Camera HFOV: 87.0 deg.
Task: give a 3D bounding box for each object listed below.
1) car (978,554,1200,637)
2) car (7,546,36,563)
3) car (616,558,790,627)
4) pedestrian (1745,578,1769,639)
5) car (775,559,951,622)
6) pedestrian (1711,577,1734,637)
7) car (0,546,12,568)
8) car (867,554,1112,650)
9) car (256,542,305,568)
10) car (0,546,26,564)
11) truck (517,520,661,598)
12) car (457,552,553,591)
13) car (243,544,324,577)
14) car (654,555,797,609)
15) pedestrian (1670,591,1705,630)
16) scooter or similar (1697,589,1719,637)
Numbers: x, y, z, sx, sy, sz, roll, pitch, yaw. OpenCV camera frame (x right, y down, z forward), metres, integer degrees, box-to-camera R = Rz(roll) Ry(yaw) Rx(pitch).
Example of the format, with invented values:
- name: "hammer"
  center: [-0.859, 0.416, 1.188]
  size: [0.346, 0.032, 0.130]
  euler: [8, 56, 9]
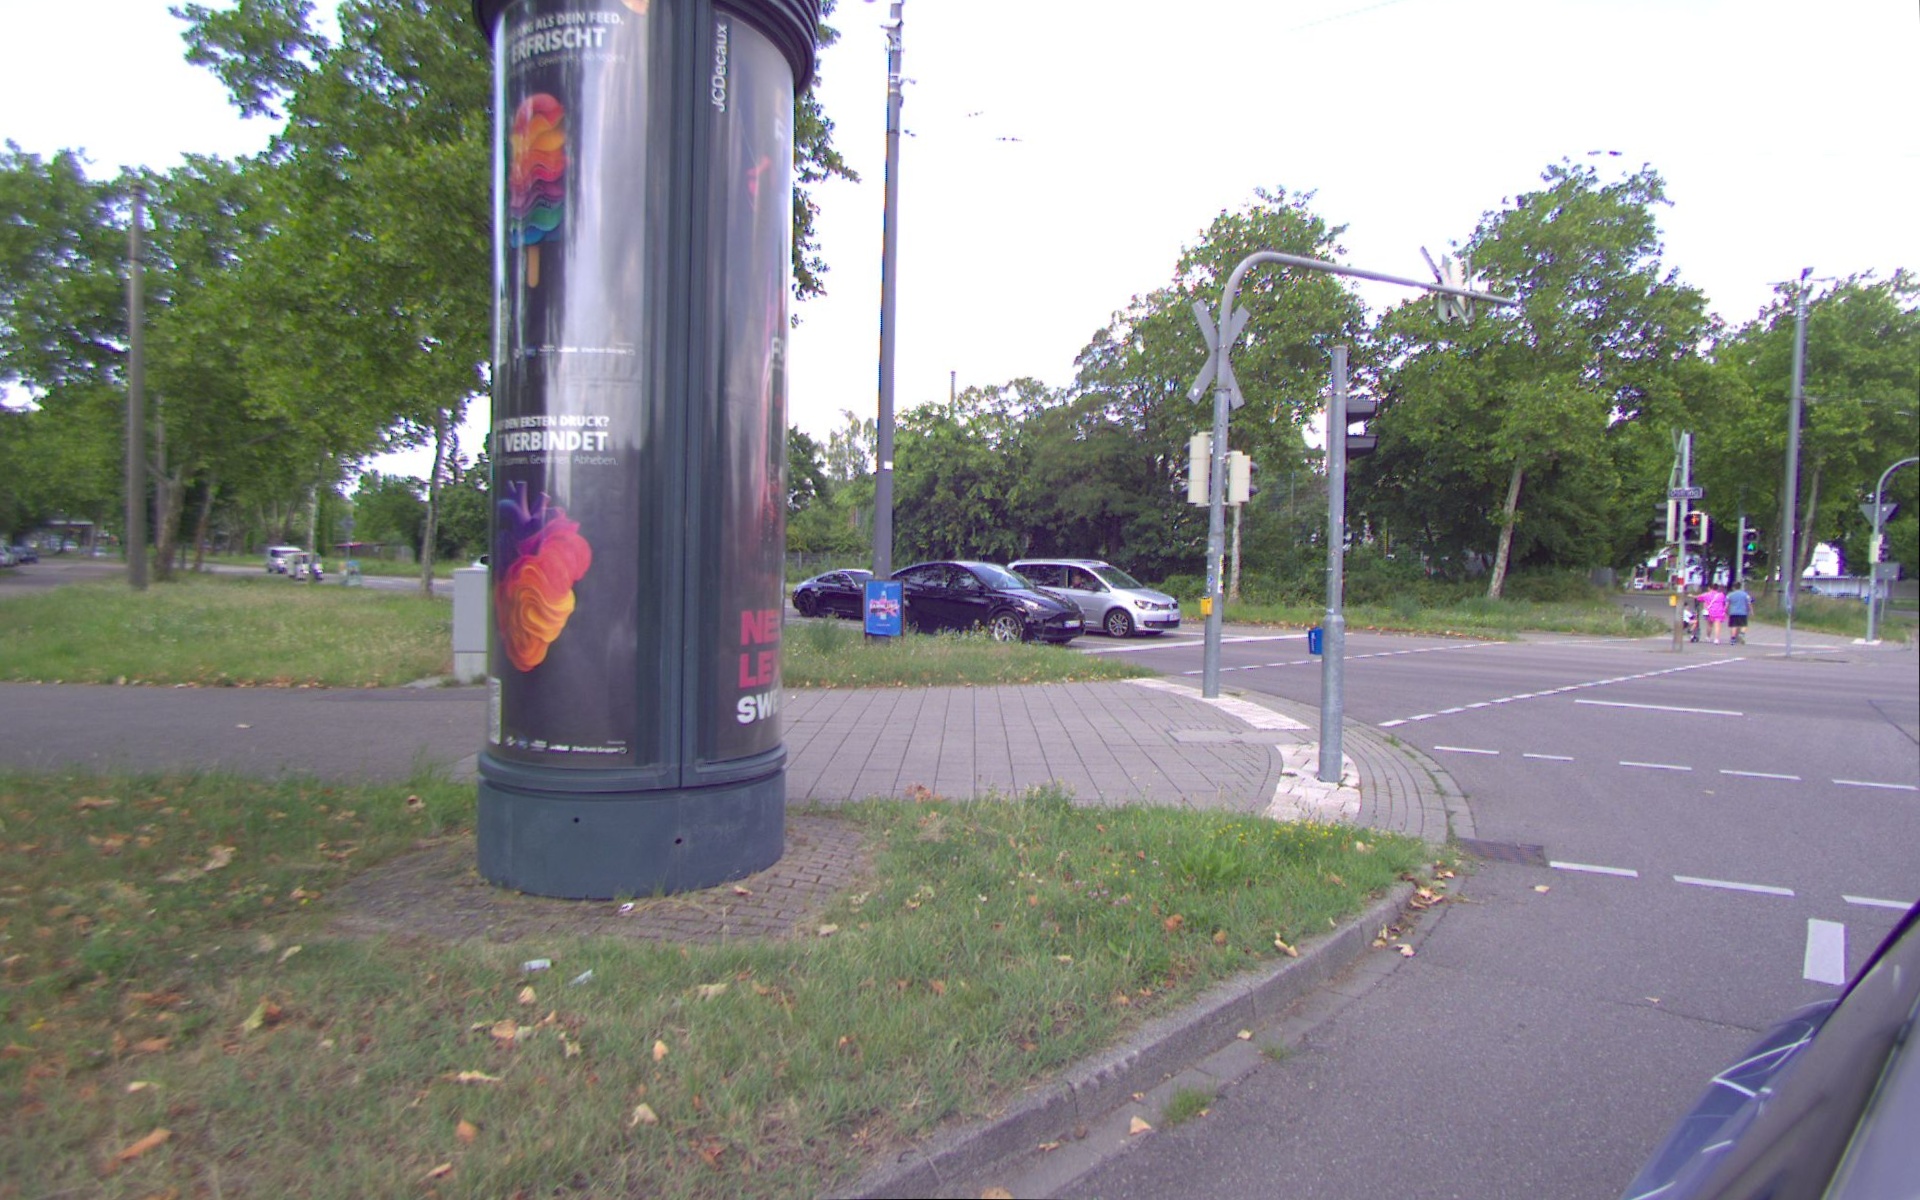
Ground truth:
- name: "car"
  center: [2.815, -0.188, 22.748]
  size: [4.667, 1.629, 1.971]
  euler: [3, 3, 40]
- name: "car"
  center: [-79.335, -3.852, 85.595]
  size: [1.650, 1.408, 3.303]
  euler: [0, 3, -40]
- name: "car"
  center: [-6.587, -0.269, 25.675]
  size: [4.667, 1.531, 1.971]
  euler: [3, 3, 40]
- name: "pedestrian"
  center: [20.023, 0.207, 25.429]
  size: [0.417, 1.527, 0.445]
  euler: [2, 2, 39]
- name: "car"
  center: [-2.651, -0.322, 26.958]
  size: [4.729, 1.487, 1.971]
  euler: [3, 3, 40]
- name: "pedestrian"
  center: [19.560, 0.176, 25.953]
  size: [0.417, 1.527, 0.387]
  euler: [2, 2, 39]
- name: "car"
  center: [-64.050, -2.878, 67.047]
  size: [1.650, 1.408, 3.303]
  euler: [0, 3, -40]
- name: "car"
  center: [0.485, -0.056, 19.945]
  size: [4.668, 1.629, 1.971]
  euler: [3, 3, 41]
- name: "car"
  center: [-47.036, -3.092, 70.001]
  size: [3.986, 1.727, 1.970]
  euler: [3, 3, 42]
- name: "car"
  center: [-74.286, -3.526, 79.173]
  size: [1.650, 1.408, 3.303]
  euler: [0, 3, -40]
- name: "truck"
  center: [-13.789, -1.528, 37.360]
  size: [6.483, 2.628, 2.184]
  euler: [3, 2, 42]
- name: "car"
  center: [-19.518, -1.241, 43.301]
  size: [4.667, 1.531, 1.971]
  euler: [3, 3, 40]
- name: "car"
  center: [-32.852, -1.946, 49.090]
  size: [4.663, 1.531, 1.973]
  euler: [3, 3, 39]
- name: "car"
  center: [-7.361, -0.618, 31.478]
  size: [4.667, 1.531, 1.971]
  euler: [3, 3, 40]
- name: "pedestrian"
  center: [20.571, 0.281, 28.623]
  size: [0.720, 1.047, 0.888]
  euler: [2, 2, 40]
- name: "scooter or similar"
  center: [19.110, 0.321, 25.865]
  size: [0.393, 1.175, 1.102]
  euler: [2, 2, 36]
